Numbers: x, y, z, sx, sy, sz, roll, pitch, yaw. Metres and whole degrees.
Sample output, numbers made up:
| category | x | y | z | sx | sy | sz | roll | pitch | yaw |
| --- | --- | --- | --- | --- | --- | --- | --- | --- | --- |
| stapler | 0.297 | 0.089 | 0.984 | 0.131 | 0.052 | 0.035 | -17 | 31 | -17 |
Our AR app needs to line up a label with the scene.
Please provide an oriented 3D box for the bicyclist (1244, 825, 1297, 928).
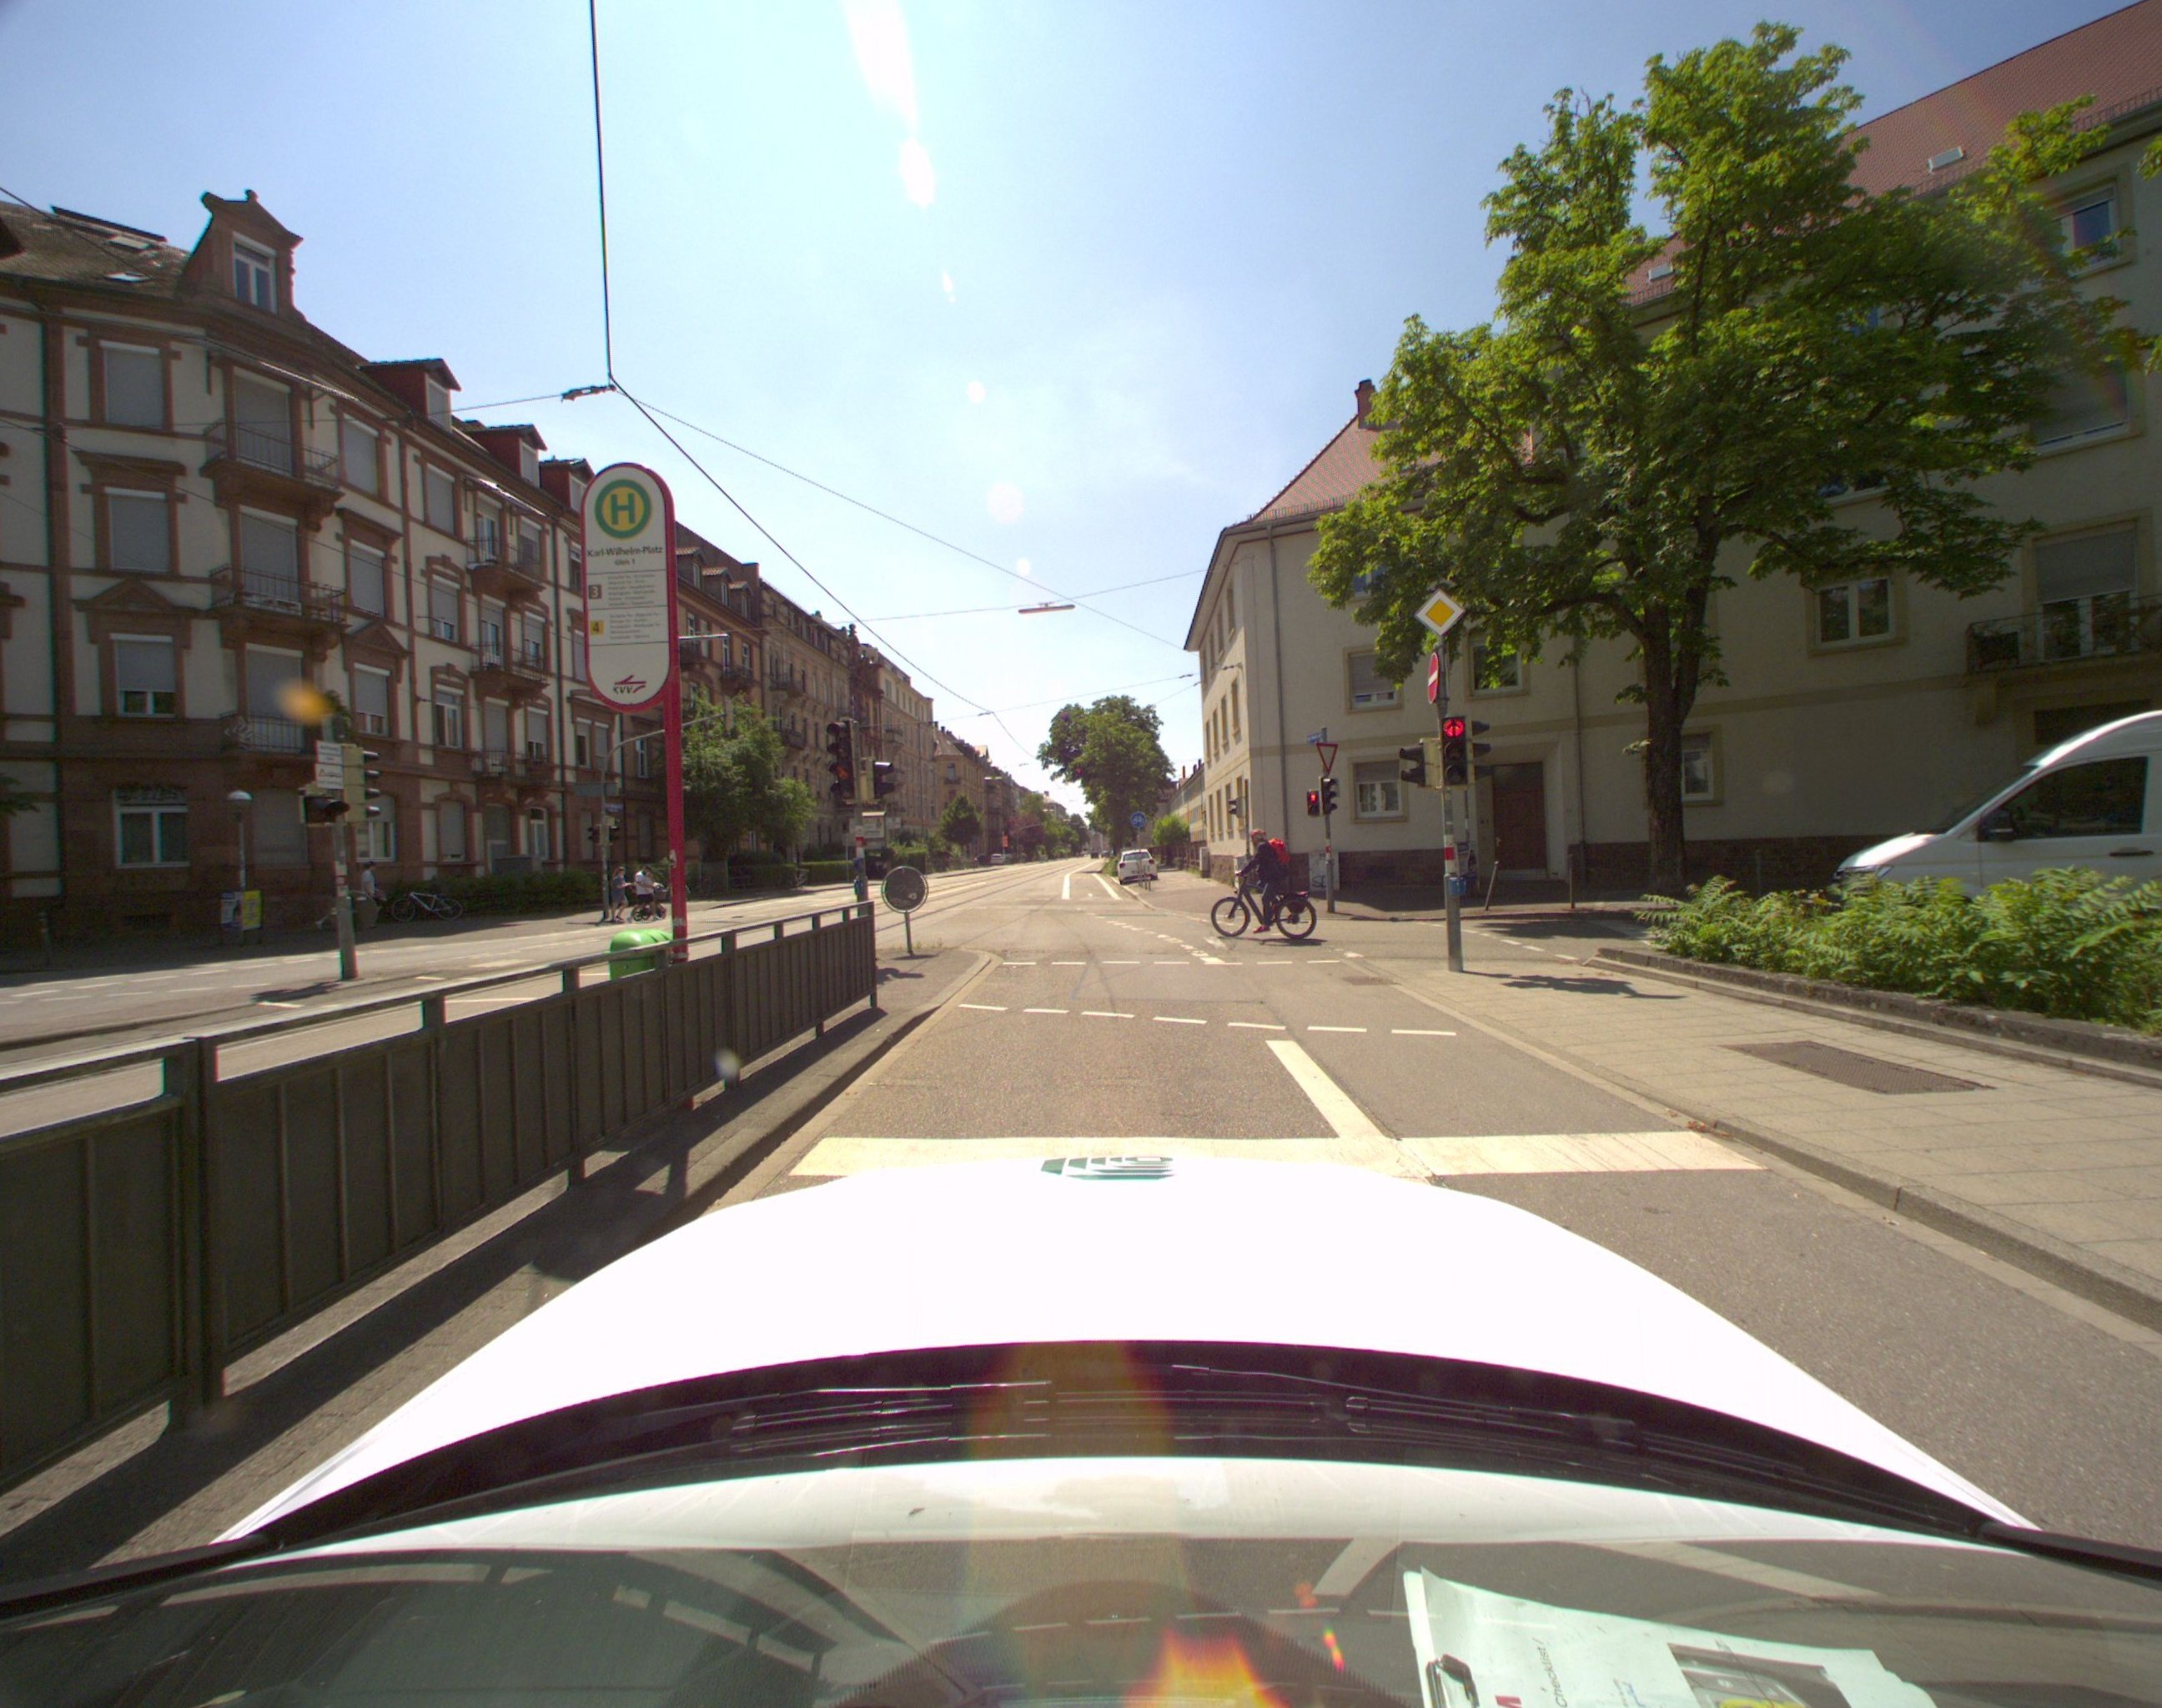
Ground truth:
| category | x | y | z | sx | sy | sz | roll | pitch | yaw |
| --- | --- | --- | --- | --- | --- | --- | --- | --- | --- |
| bicyclist | 3.128 | 0.368 | 13.451 | 0.687 | 1.646 | 0.584 | -2 | -1 | 26 |

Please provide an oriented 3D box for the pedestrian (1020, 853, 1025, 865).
| category | x | y | z | sx | sy | sz | roll | pitch | yaw |
| --- | --- | --- | --- | --- | --- | --- | --- | --- | --- |
| pedestrian | -9.019 | 0.789 | 125.732 | 0.675 | 1.727 | 0.677 | -1 | -1 | 1 |

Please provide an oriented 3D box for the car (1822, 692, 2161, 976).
| category | x | y | z | sx | sy | sz | roll | pitch | yaw |
| --- | --- | --- | --- | --- | --- | --- | --- | --- | --- |
| car | 11.011 | -0.228 | 7.611 | 2.011 | 2.590 | 5.781 | -2 | 0 | -40 |

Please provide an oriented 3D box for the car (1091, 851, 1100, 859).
| category | x | y | z | sx | sy | sz | roll | pitch | yaw |
| --- | --- | --- | --- | --- | --- | --- | --- | --- | --- |
| car | 3.010 | 0.202 | 168.578 | 1.519 | 1.444 | 3.367 | -4 | 0 | 2 |

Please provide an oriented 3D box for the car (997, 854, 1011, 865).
| category | x | y | z | sx | sy | sz | roll | pitch | yaw |
| --- | --- | --- | --- | --- | --- | --- | --- | --- | --- |
| car | -11.788 | 0.799 | 124.321 | 1.623 | 1.472 | 3.563 | -5 | 0 | 0 |

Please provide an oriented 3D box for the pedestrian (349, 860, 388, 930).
| category | x | y | z | sx | sy | sz | roll | pitch | yaw |
| --- | --- | --- | --- | --- | --- | --- | --- | --- | --- |
| pedestrian | -19.273 | 1.095 | 22.041 | 0.565 | 1.825 | 0.631 | -1 | -1 | -20 |

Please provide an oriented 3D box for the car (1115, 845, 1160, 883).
| category | x | y | z | sx | sy | sz | roll | pitch | yaw |
| --- | --- | --- | --- | --- | --- | --- | --- | --- | --- |
| car | 2.528 | 0.443 | 37.280 | 1.741 | 1.472 | 3.939 | -5 | 0 | 1 |

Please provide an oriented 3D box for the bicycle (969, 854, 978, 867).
| category | x | y | z | sx | sy | sz | roll | pitch | yaw |
| --- | --- | --- | --- | --- | --- | --- | --- | --- | --- |
| bicycle | -11.636 | 0.717 | 88.441 | 0.575 | 1.388 | 2.502 | -1 | 0 | 2 |

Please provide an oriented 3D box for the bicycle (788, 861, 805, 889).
| category | x | y | z | sx | sy | sz | roll | pitch | yaw |
| --- | --- | --- | --- | --- | --- | --- | --- | --- | --- |
| bicycle | -14.434 | 1.039 | 41.282 | 0.594 | 1.356 | 2.420 | -1 | 0 | -24 |

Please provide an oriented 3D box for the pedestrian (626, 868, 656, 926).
| category | x | y | z | sx | sy | sz | roll | pitch | yaw |
| --- | --- | --- | --- | --- | --- | --- | --- | --- | --- |
| pedestrian | -12.664 | 1.225 | 23.436 | 0.657 | 1.615 | 0.464 | -1 | 2 | -40 |

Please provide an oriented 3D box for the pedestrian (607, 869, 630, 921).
| category | x | y | z | sx | sy | sz | roll | pitch | yaw |
| --- | --- | --- | --- | --- | --- | --- | --- | --- | --- |
| pedestrian | -13.858 | 1.223 | 24.395 | 0.510 | 1.516 | 0.464 | -1 | -1 | -40 |

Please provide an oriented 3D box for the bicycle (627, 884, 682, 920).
| category | x | y | z | sx | sy | sz | roll | pitch | yaw |
| --- | --- | --- | --- | --- | --- | --- | --- | --- | --- |
| bicycle | -12.853 | 1.436 | 24.540 | 1.410 | 1.013 | 0.384 | -2 | 0 | -39 |

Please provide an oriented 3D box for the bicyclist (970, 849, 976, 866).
| category | x | y | z | sx | sy | sz | roll | pitch | yaw |
| --- | --- | --- | --- | --- | --- | --- | --- | --- | --- |
| bicyclist | -11.670 | 0.376 | 88.341 | 0.540 | 1.763 | 0.498 | -1 | -1 | 1 |

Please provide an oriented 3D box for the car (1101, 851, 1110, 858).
| category | x | y | z | sx | sy | sz | roll | pitch | yaw |
| --- | --- | --- | --- | --- | --- | --- | --- | --- | --- |
| car | 5.663 | 0.054 | 187.964 | 1.741 | 1.472 | 3.939 | -5 | 0 | 1 |

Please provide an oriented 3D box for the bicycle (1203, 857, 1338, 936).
| category | x | y | z | sx | sy | sz | roll | pitch | yaw |
| --- | --- | --- | --- | --- | --- | --- | --- | --- | --- |
| bicycle | 3.118 | 0.698 | 13.474 | 2.061 | 1.236 | 0.584 | -2 | -1 | 26 |

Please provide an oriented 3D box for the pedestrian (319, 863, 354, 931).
| category | x | y | z | sx | sy | sz | roll | pitch | yaw |
| --- | --- | --- | --- | --- | --- | --- | --- | --- | --- |
| pedestrian | -19.960 | 1.136 | 21.843 | 0.508 | 1.768 | 0.525 | -1 | -1 | -20 |

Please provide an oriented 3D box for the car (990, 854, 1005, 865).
| category | x | y | z | sx | sy | sz | roll | pitch | yaw |
| --- | --- | --- | --- | --- | --- | --- | --- | --- | --- |
| car | -11.862 | 0.762 | 116.131 | 1.679 | 1.472 | 3.937 | -5 | 0 | 0 |

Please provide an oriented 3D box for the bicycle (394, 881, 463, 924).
| category | x | y | z | sx | sy | sz | roll | pitch | yaw |
| --- | --- | --- | --- | --- | --- | --- | --- | --- | --- |
| bicycle | -19.248 | 1.418 | 24.057 | 1.522 | 1.169 | 0.362 | -1 | 1 | -25 |

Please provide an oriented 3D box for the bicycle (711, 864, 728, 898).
| category | x | y | z | sx | sy | sz | roll | pitch | yaw |
| --- | --- | --- | --- | --- | --- | --- | --- | --- | --- |
| bicycle | -15.520 | 1.134 | 34.948 | 0.617 | 1.395 | 2.289 | -1 | 0 | -24 |
